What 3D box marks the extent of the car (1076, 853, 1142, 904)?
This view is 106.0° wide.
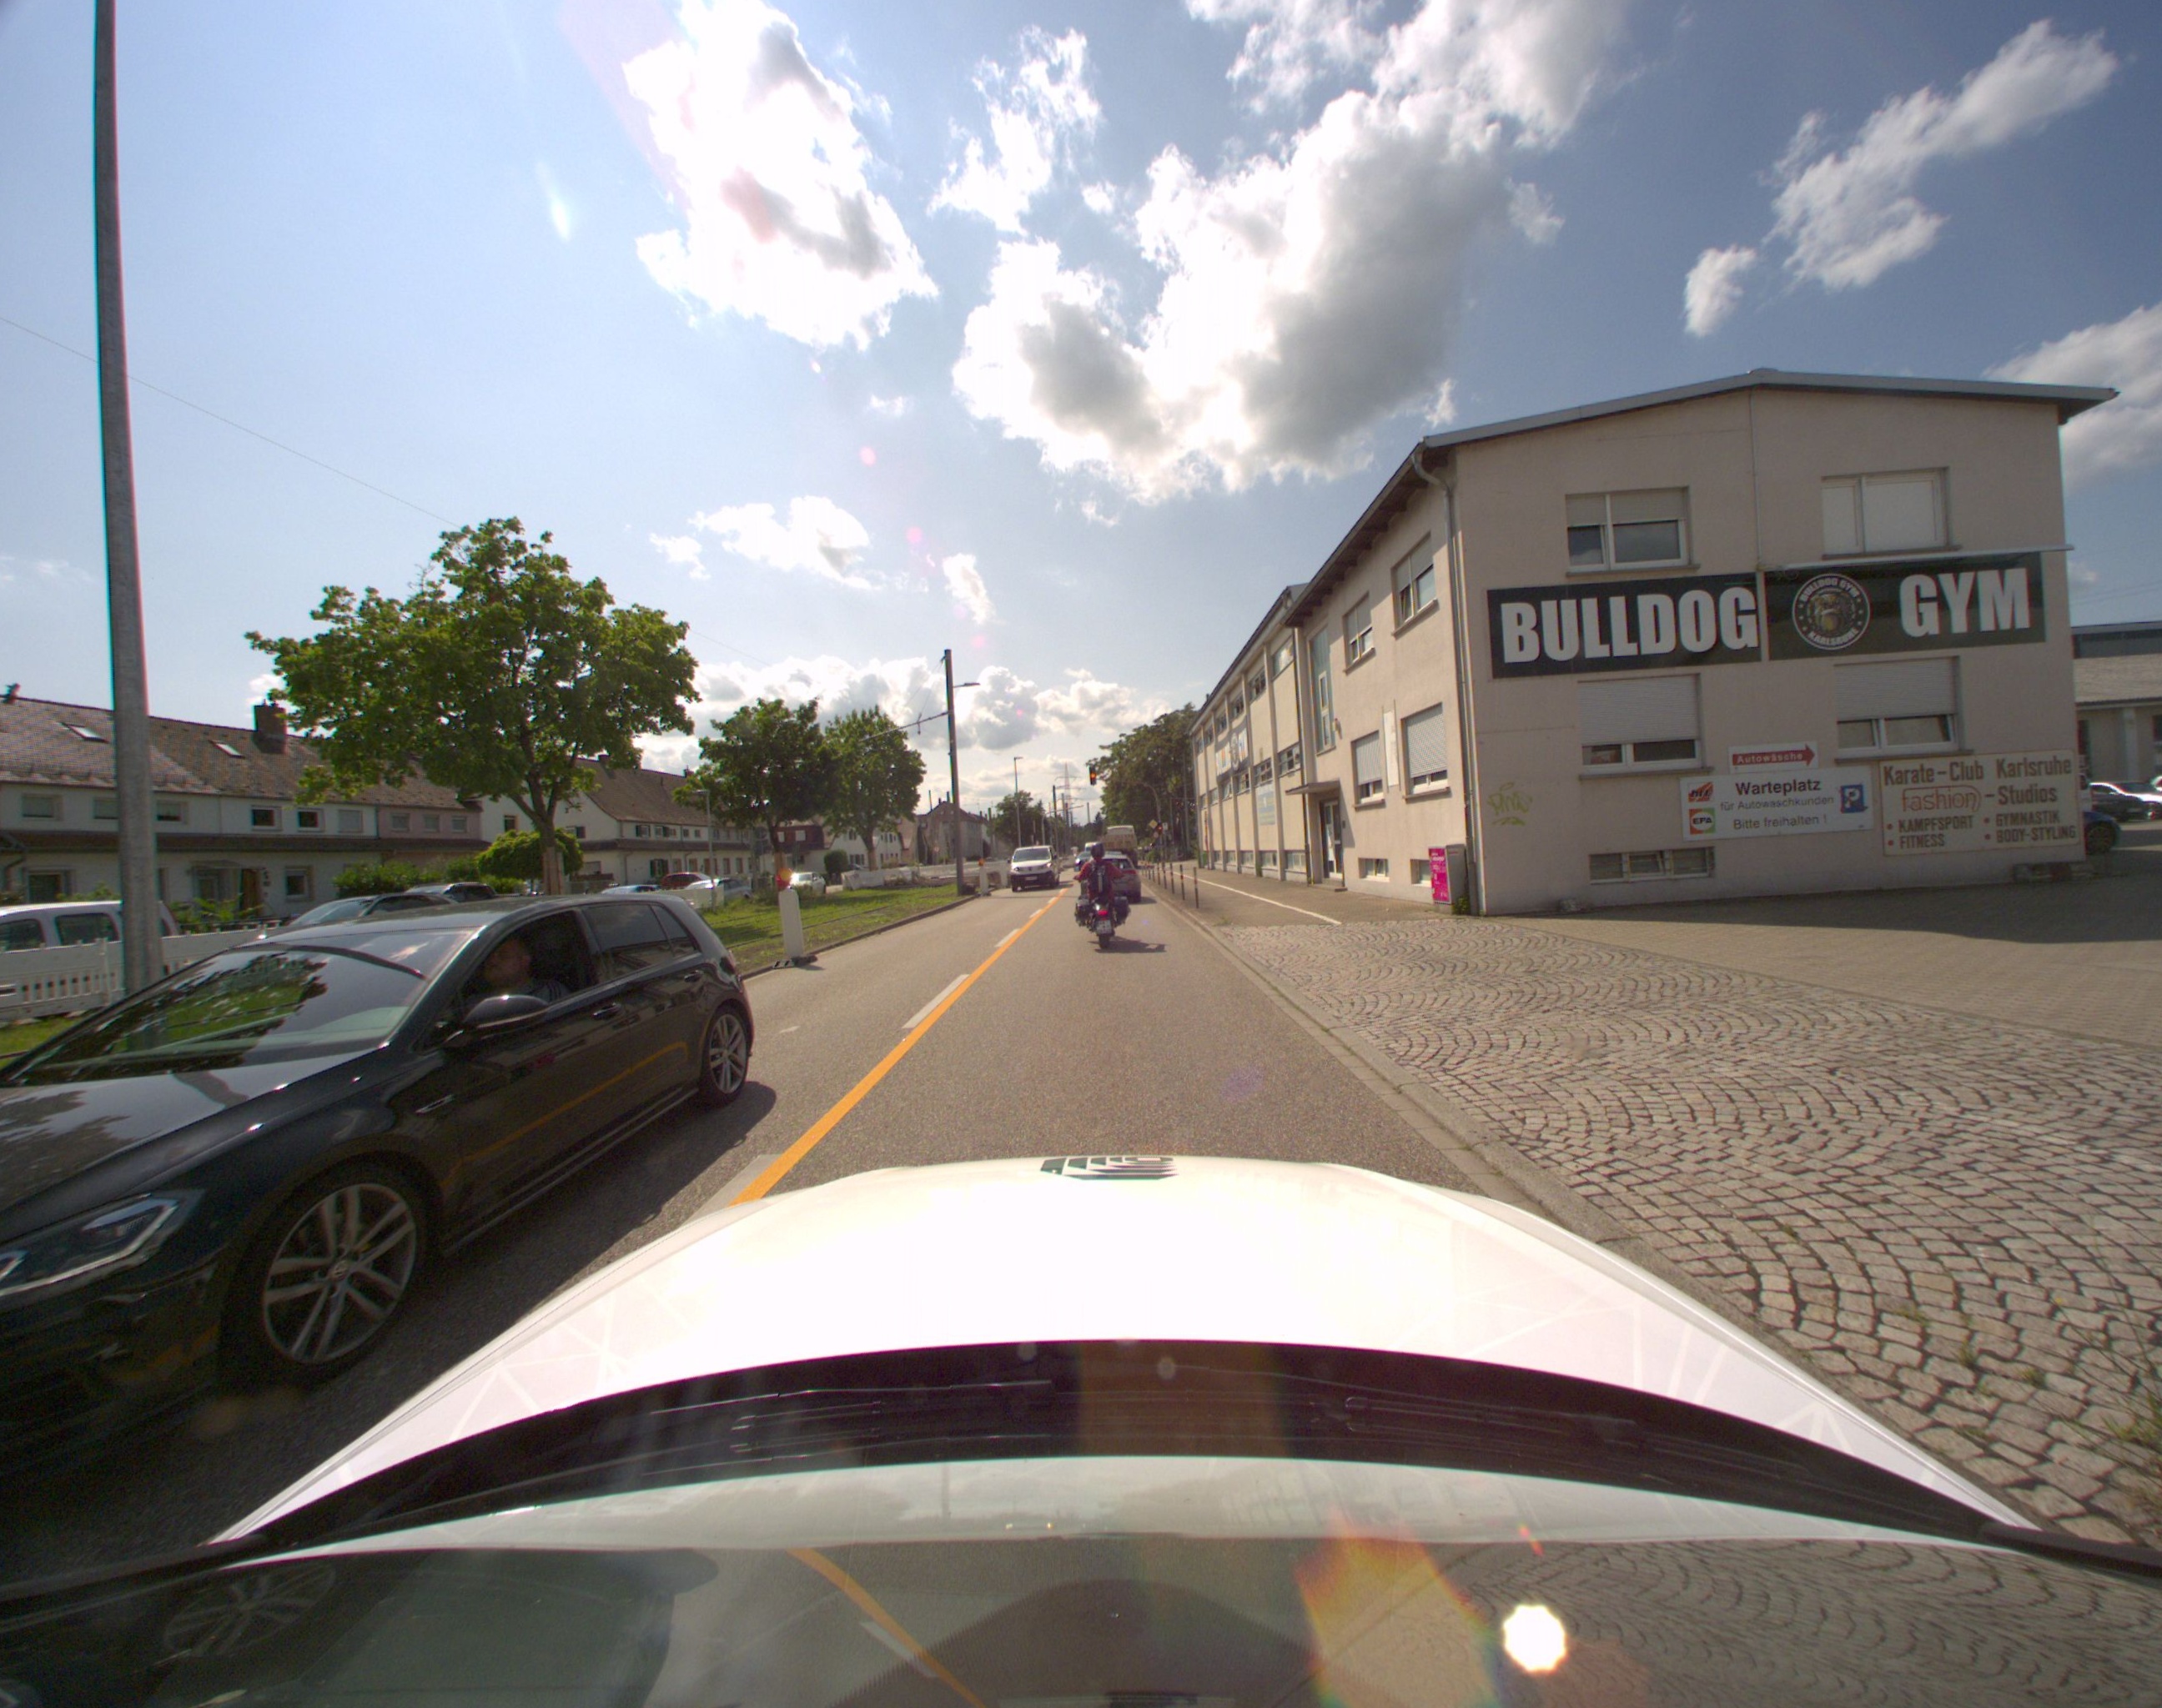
[{"bbox_3d":[0.787,0.696,25.251,1.727,1.403,4.082,-1,0,-3],"label":"car"}]

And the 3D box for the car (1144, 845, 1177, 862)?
[{"bbox_3d":[9.720,-0.046,99.734,4.023,1.926,1.781,-1,-1,-43],"label":"car"}]

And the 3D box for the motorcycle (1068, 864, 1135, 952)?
[{"bbox_3d":[0.336,0.799,13.031,0.939,1.200,2.473,-1,0,2],"label":"motorcycle"}]

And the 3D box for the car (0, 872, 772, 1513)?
[{"bbox_3d":[-3.121,0.897,3.825,1.686,1.412,3.860,-6,-1,1],"label":"car"}]

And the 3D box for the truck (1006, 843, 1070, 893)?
[{"bbox_3d":[-1.852,0.554,36.674,1.810,1.909,5.127,-5,0,7],"label":"truck"}]

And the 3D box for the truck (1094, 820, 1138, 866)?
[{"bbox_3d":[2.703,-0.739,60.743,2.954,3.173,7.773,-2,-1,4],"label":"truck"}]

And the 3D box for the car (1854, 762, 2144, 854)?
[{"bbox_3d":[19.145,-0.918,17.124,3.978,1.716,1.998,-2,-1,-3],"label":"car"}]

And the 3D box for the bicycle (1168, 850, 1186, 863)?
[{"bbox_3d":[9.365,0.264,79.675,1.699,1.172,0.439,-2,-1,6],"label":"bicycle"}]

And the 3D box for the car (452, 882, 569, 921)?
[{"bbox_3d":[-28.388,2.351,40.654,4.405,1.686,1.794,-2,-1,-9],"label":"car"}]

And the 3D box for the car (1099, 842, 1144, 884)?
[{"bbox_3d":[1.992,0.372,39.261,1.893,1.712,4.724,-4,1,4],"label":"car"}]

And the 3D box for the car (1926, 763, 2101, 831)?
[{"bbox_3d":[32.690,-1.935,28.718,1.780,2.032,3.846,-2,-1,2],"label":"car"}]

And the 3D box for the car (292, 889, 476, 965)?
[{"bbox_3d":[-15.632,1.587,18.479,1.345,1.377,3.115,-4,-1,2],"label":"car"}]

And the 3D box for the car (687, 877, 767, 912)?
[{"bbox_3d":[-14.651,1.645,33.918,1.497,1.176,3.749,-4,0,2],"label":"car"}]

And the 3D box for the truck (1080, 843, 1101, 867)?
[{"bbox_3d":[1.172,0.027,94.773,2.084,2.476,5.200,-5,1,3],"label":"truck"}]

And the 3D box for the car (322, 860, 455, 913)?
[{"bbox_3d":[-28.653,1.278,33.887,1.986,2.014,4.001,-2,-1,1],"label":"car"}]

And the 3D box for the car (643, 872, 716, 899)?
[{"bbox_3d":[-27.024,2.093,54.871,3.973,1.509,1.726,-4,0,0],"label":"car"}]

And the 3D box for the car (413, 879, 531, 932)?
[{"bbox_3d":[-20.605,1.685,27.703,1.378,1.495,3.312,-4,0,1],"label":"car"}]

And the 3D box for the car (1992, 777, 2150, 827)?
[{"bbox_3d":[35.142,-1.809,29.042,1.491,1.480,3.416,-2,-1,2],"label":"car"}]

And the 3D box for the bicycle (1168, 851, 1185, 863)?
[{"bbox_3d":[9.400,0.271,80.141,1.699,1.172,0.439,-2,-1,6],"label":"bicycle"}]

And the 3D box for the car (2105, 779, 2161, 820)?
[{"bbox_3d":[39.897,-2.049,29.454,1.357,1.397,3.473,-2,-1,2],"label":"car"}]

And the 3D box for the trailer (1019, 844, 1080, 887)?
[{"bbox_3d":[-1.497,0.543,40.691,2.052,1.835,5.495,-6,-1,6],"label":"trailer"}]

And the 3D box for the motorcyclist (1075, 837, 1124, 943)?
[{"bbox_3d":[0.295,0.553,12.811,0.695,1.604,0.692,-2,-1,1],"label":"motorcyclist"}]

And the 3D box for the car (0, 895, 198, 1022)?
[{"bbox_3d":[-15.782,1.558,11.769,1.616,1.651,3.900,-4,-1,2],"label":"car"}]

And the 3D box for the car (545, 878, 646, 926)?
[{"bbox_3d":[-15.864,1.531,26.780,1.336,1.325,3.169,-4,0,-1],"label":"car"}]

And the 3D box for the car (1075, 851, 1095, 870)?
[{"bbox_3d":[0.393,0.502,70.914,1.639,1.498,4.269,-3,0,1],"label":"car"}]

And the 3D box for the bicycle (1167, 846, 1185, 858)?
[{"bbox_3d":[9.433,-0.192,80.722,1.699,1.172,0.439,-2,-1,6],"label":"bicycle"}]

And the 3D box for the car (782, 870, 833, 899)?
[{"bbox_3d":[-15.249,1.668,45.590,1.537,1.376,4.246,-5,0,-4],"label":"car"}]

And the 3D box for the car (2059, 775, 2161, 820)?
[{"bbox_3d":[37.444,-2.010,28.859,1.409,1.397,3.473,-2,-1,2],"label":"car"}]
